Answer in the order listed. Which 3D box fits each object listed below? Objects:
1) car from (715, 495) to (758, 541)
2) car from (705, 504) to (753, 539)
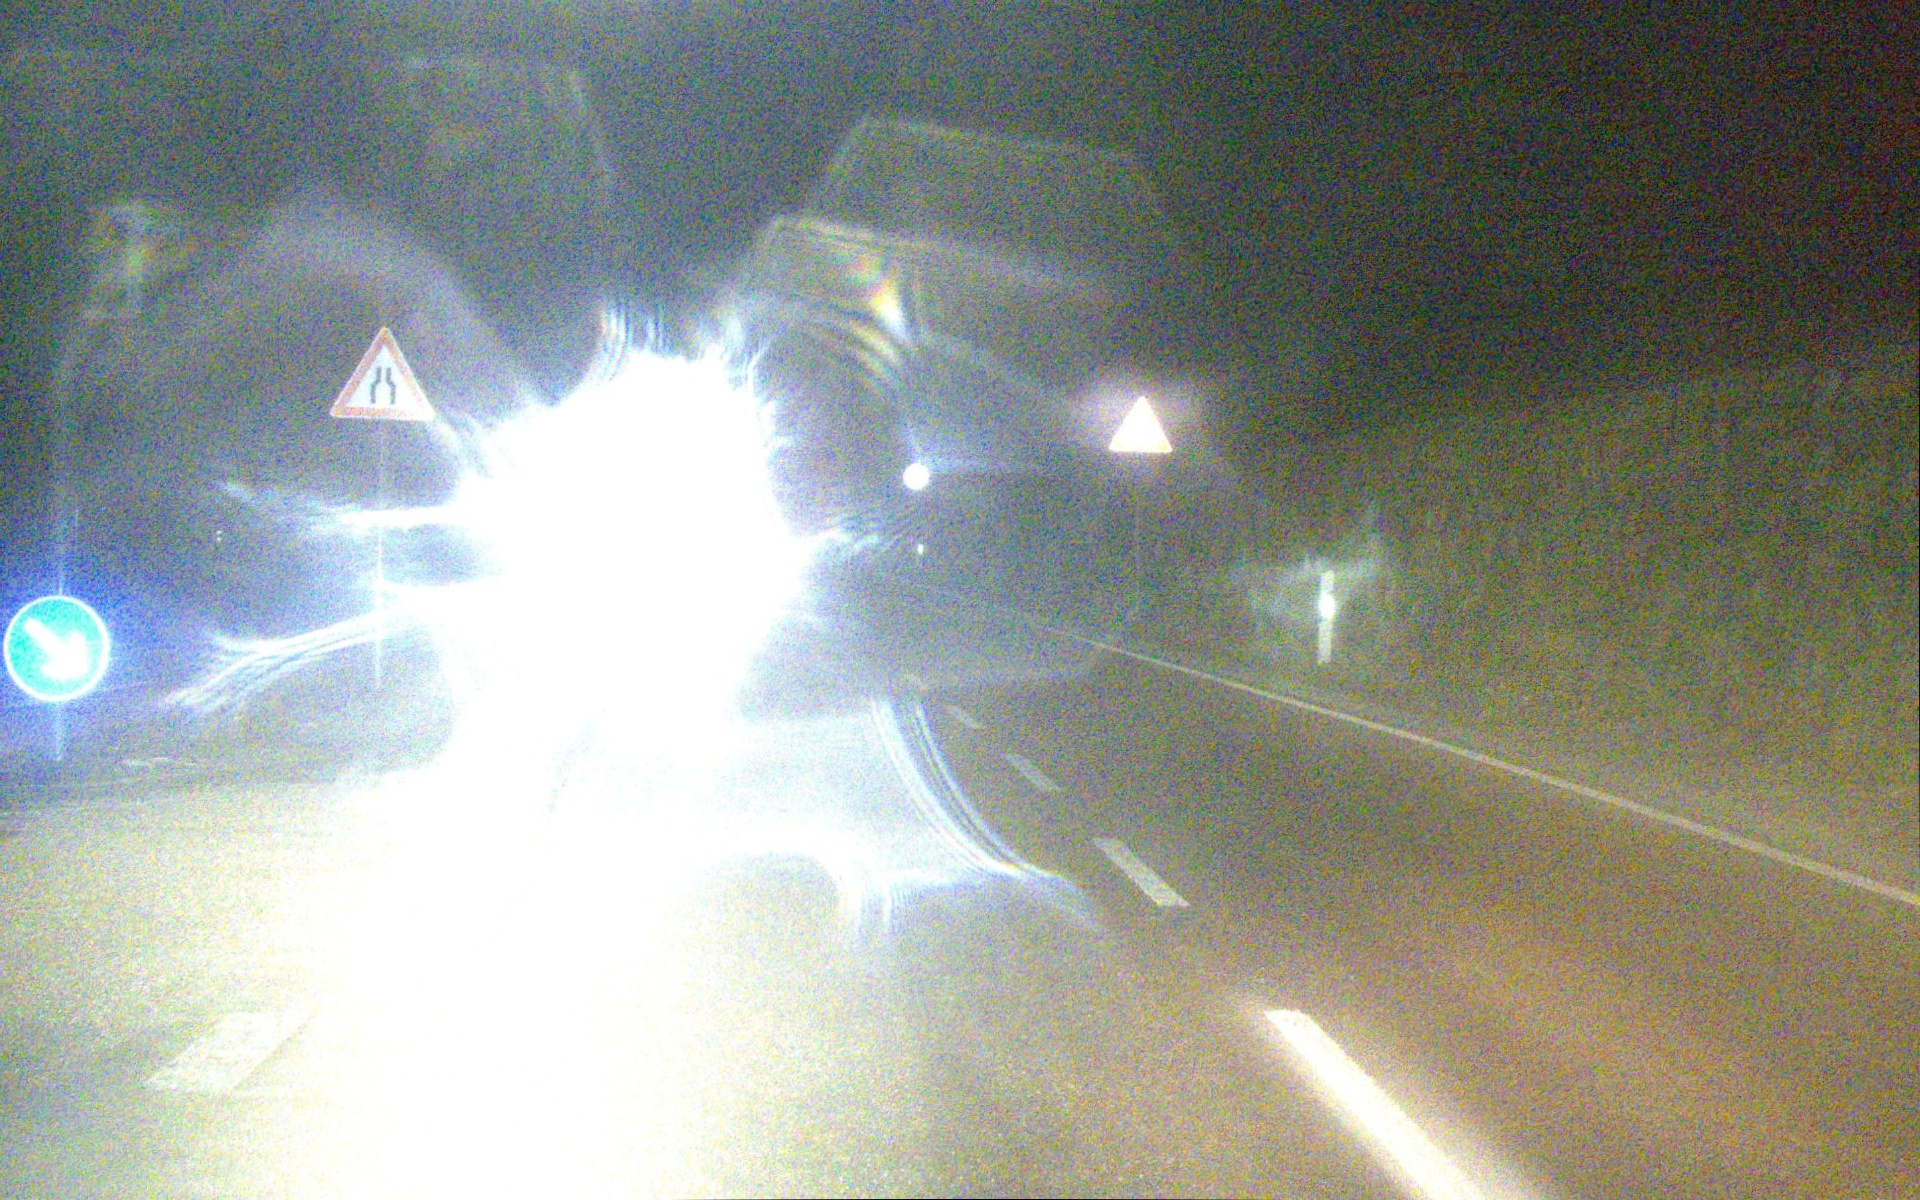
[{"bbox_3d":[-9.974,-3.634,153.565,1.791,2.015,4.580,1,1,-2],"label":"car"},{"bbox_3d":[-12.956,-4.405,192.794,1.994,1.711,3.999,4,0,5],"label":"car"}]
